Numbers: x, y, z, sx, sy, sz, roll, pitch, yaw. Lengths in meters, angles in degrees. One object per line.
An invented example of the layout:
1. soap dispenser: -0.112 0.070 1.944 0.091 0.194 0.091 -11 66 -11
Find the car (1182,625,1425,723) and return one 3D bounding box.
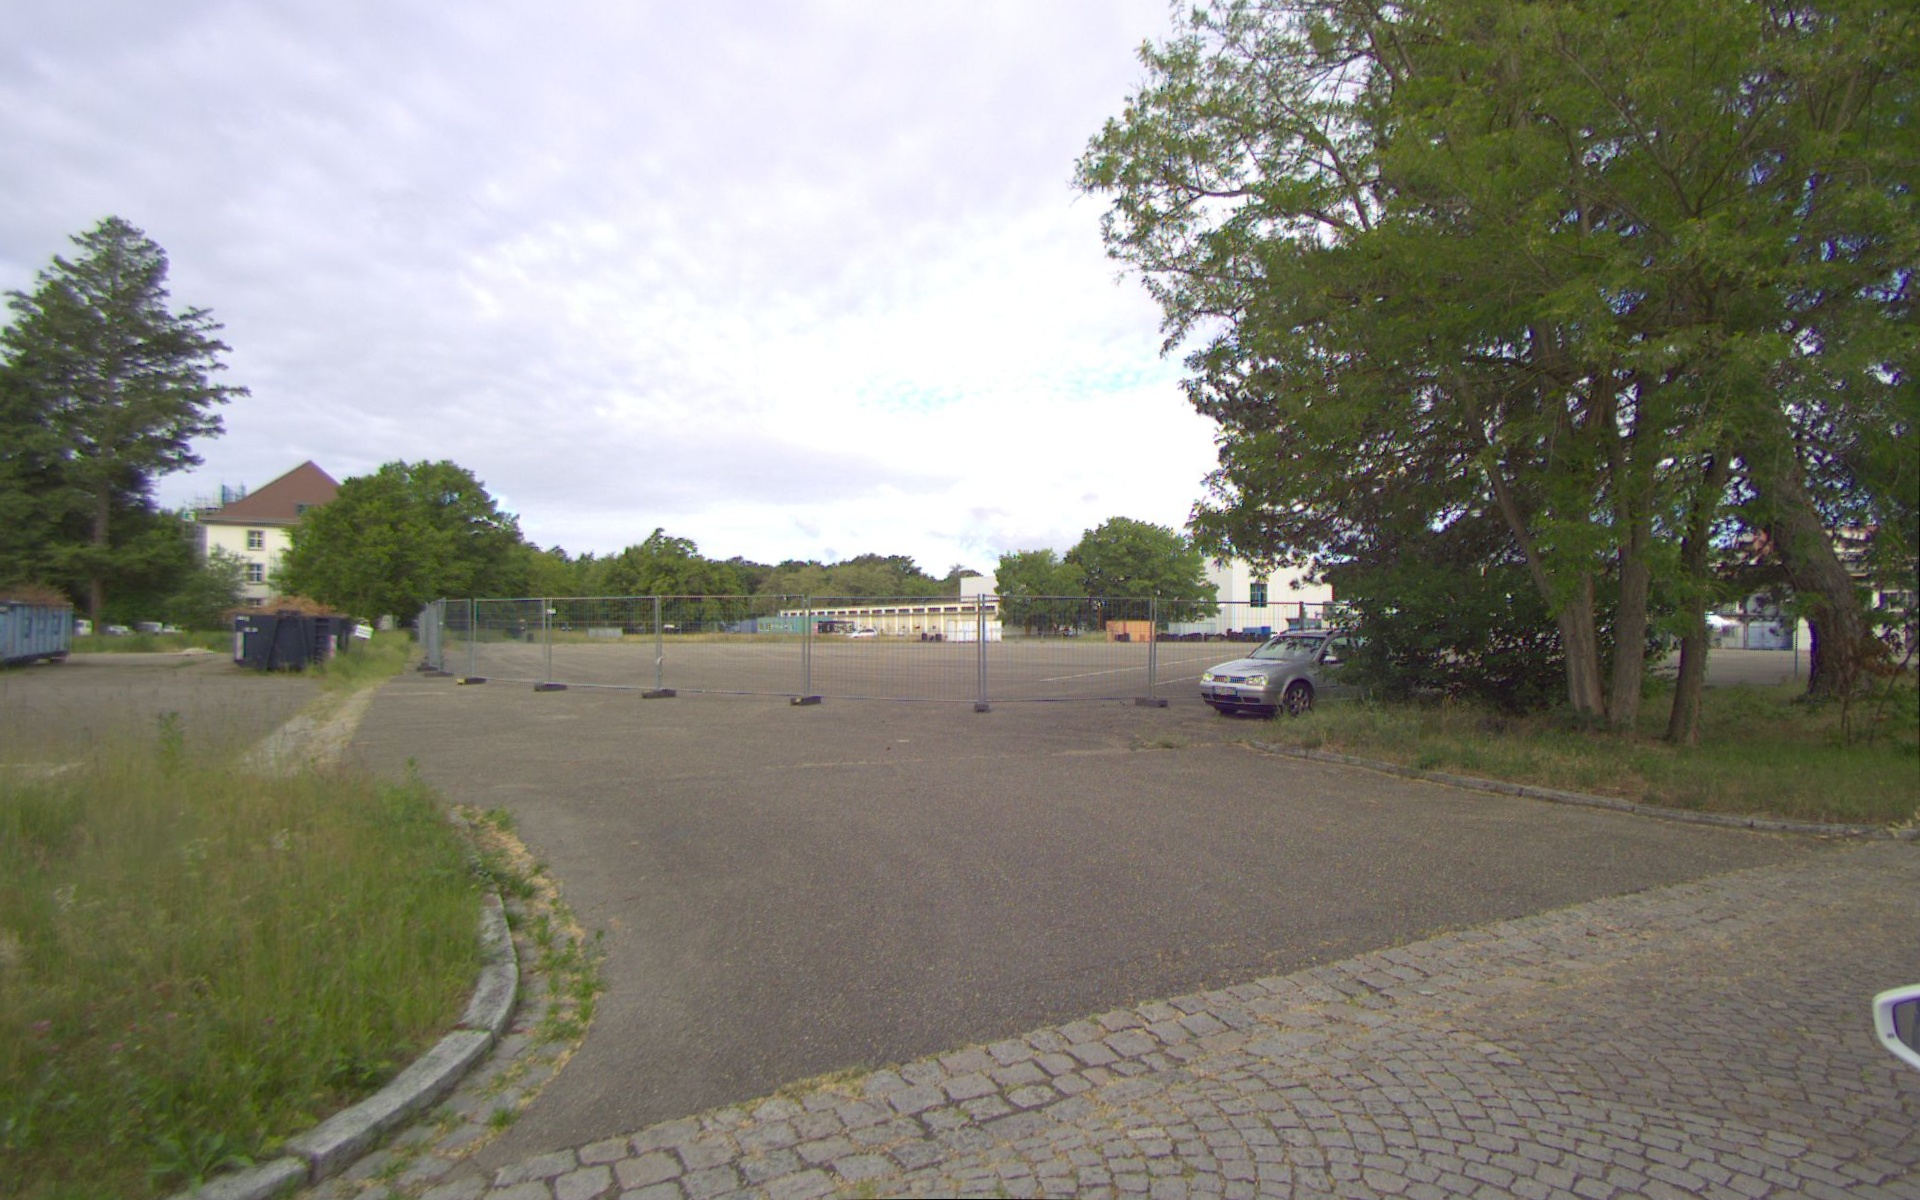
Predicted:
1. car: 5.966 1.189 17.348 4.112 1.451 1.722 0 -1 -30

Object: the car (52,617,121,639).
1. car: -90.388 2.915 104.007 5.094 2.177 1.760 2 -2 -32
